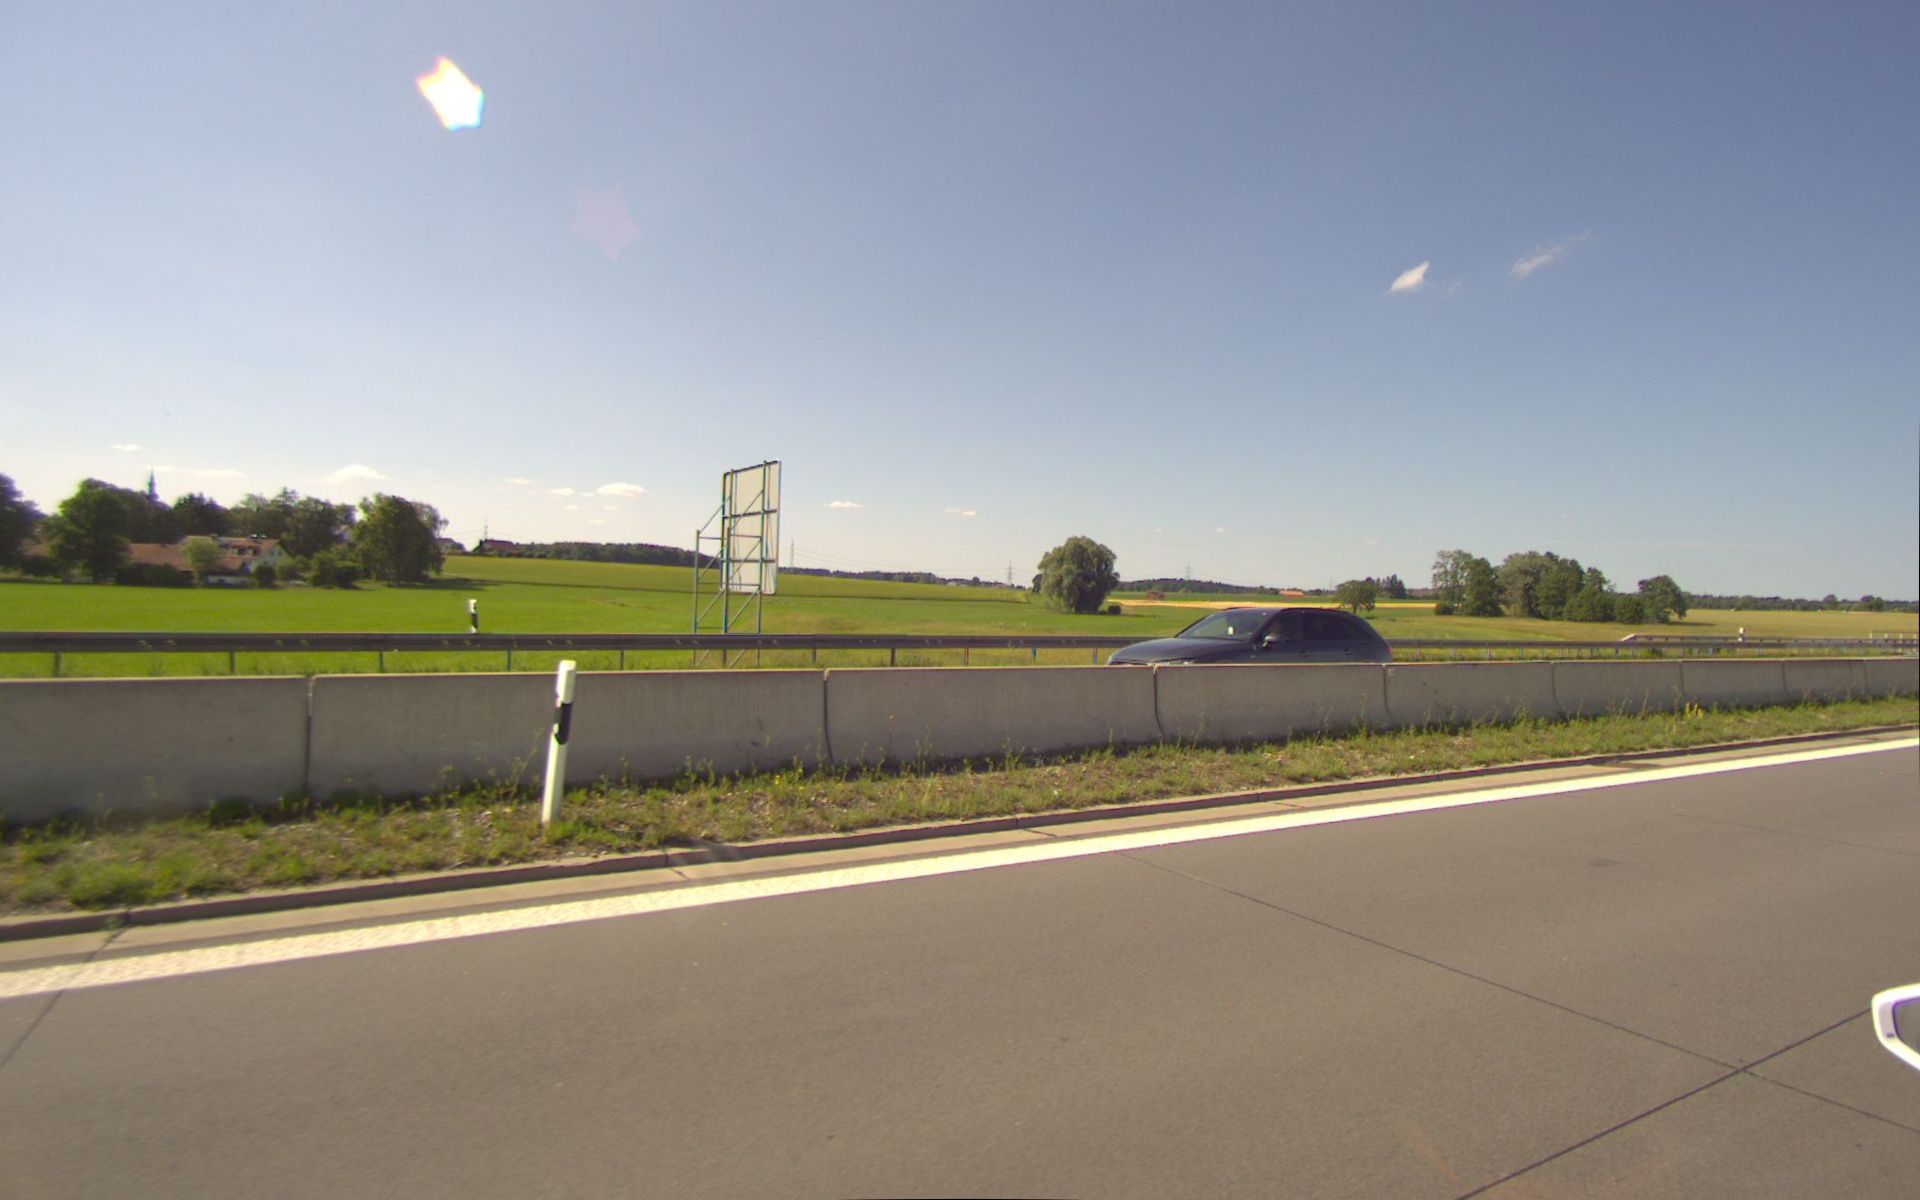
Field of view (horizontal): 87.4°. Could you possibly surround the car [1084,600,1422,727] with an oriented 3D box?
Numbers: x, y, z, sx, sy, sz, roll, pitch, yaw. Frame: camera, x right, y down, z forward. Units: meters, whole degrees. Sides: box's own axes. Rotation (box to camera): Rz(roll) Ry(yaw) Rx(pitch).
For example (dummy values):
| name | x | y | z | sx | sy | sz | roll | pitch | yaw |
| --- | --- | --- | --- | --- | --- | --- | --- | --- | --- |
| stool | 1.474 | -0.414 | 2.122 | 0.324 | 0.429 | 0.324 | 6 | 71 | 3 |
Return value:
| name | x | y | z | sx | sy | sz | roll | pitch | yaw |
| --- | --- | --- | --- | --- | --- | --- | --- | --- | --- |
| car | 4.224 | 0.825 | 14.266 | 4.750 | 1.543 | 1.888 | 1 | -1 | -31 |
